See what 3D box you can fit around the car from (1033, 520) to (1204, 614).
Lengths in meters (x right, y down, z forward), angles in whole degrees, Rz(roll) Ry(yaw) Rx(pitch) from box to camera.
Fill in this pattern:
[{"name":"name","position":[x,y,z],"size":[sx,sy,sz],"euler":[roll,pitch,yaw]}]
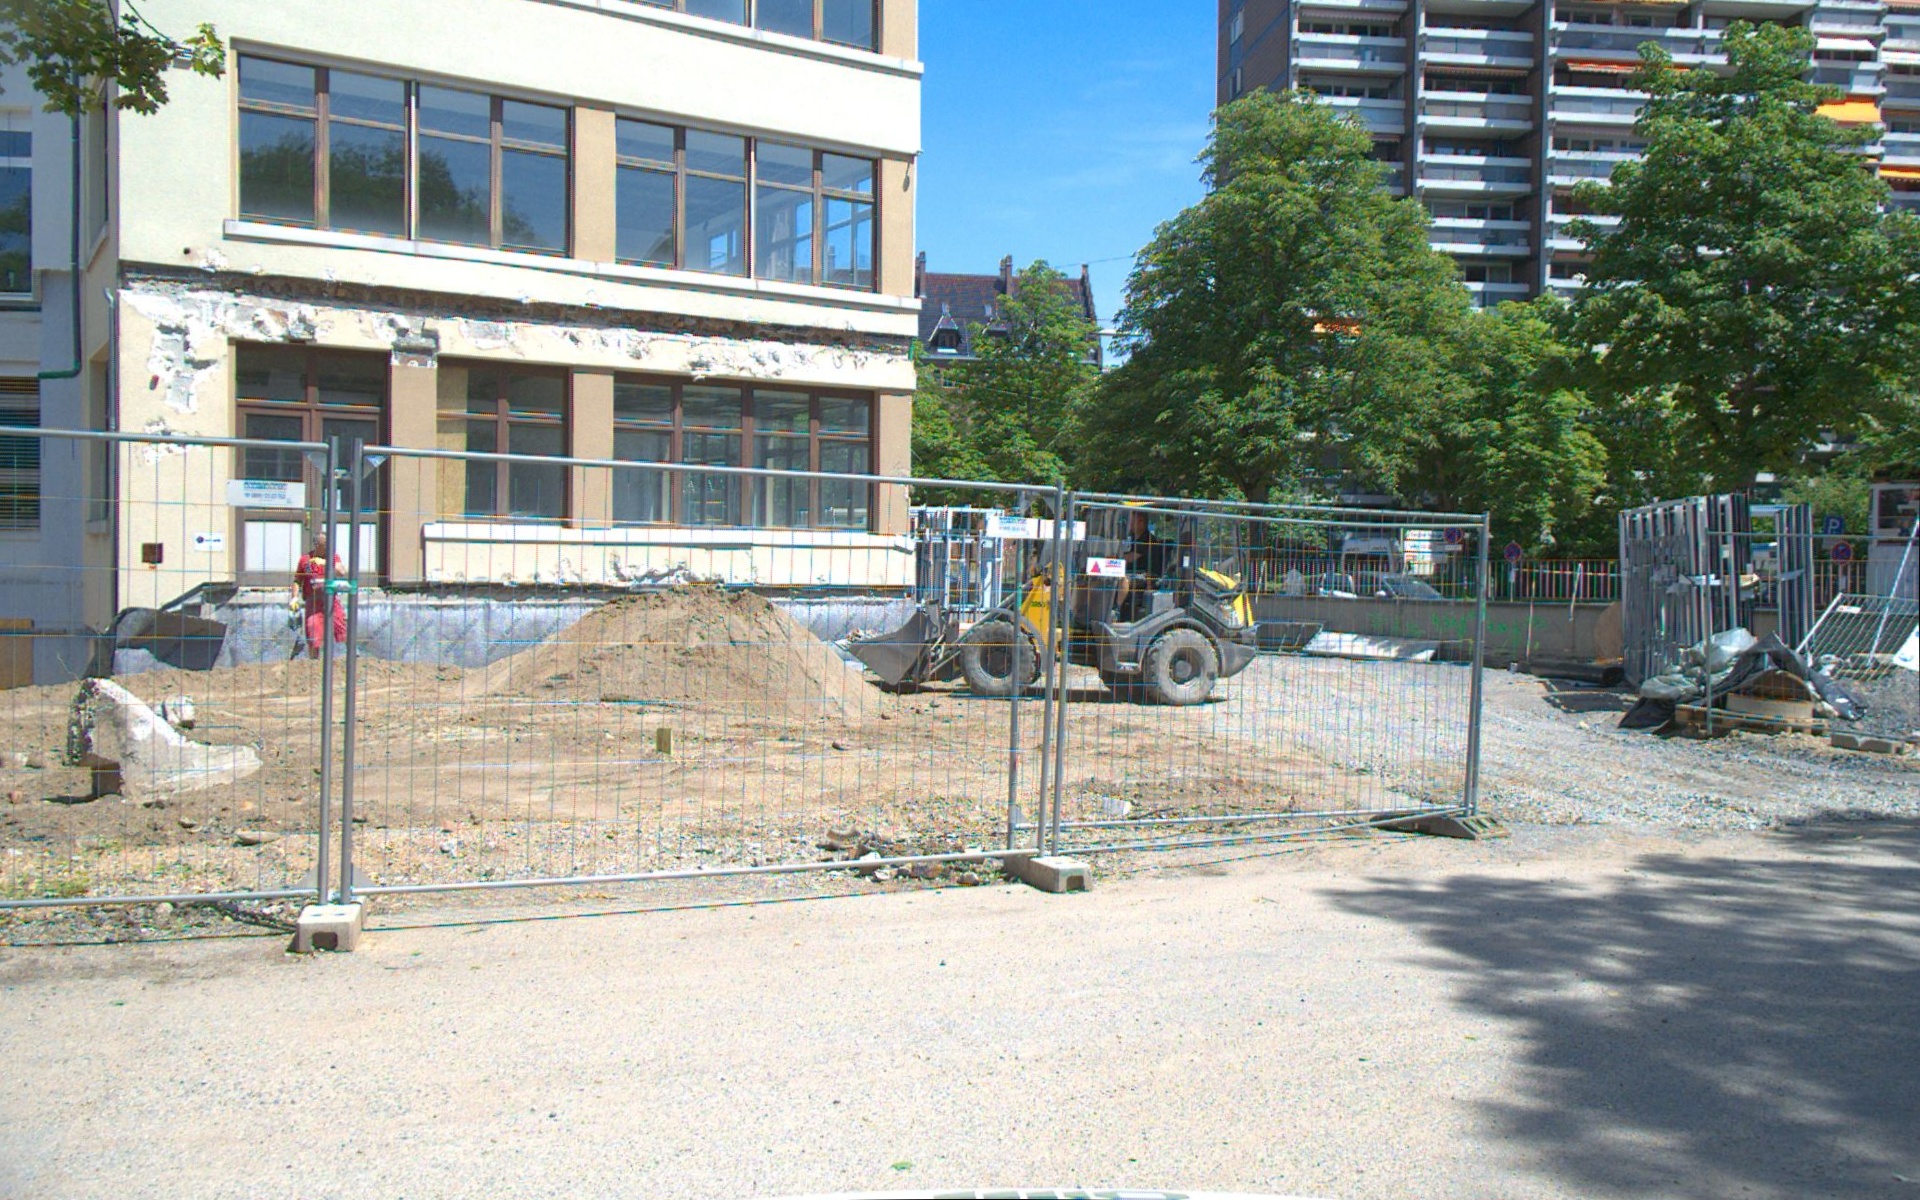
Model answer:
[{"name":"car","position":[4.323,-0.903,46.073],"size":[1.975,2.458,5.184],"euler":[0,1,-33]}]

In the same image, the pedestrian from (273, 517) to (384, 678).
[{"name":"pedestrian","position":[-7.619,-0.039,19.952],"size":[0.979,1.879,0.902],"euler":[0,1,-45]}]

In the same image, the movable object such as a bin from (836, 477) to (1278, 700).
[{"name":"movable object such as a bin","position":[1.107,-0.158,21.118],"size":[5.297,2.507,2.366],"euler":[2,1,-5]}]

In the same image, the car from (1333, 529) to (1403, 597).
[{"name":"car","position":[14.561,-1.308,58.894],"size":[2.138,2.297,4.872],"euler":[1,1,17]}]
